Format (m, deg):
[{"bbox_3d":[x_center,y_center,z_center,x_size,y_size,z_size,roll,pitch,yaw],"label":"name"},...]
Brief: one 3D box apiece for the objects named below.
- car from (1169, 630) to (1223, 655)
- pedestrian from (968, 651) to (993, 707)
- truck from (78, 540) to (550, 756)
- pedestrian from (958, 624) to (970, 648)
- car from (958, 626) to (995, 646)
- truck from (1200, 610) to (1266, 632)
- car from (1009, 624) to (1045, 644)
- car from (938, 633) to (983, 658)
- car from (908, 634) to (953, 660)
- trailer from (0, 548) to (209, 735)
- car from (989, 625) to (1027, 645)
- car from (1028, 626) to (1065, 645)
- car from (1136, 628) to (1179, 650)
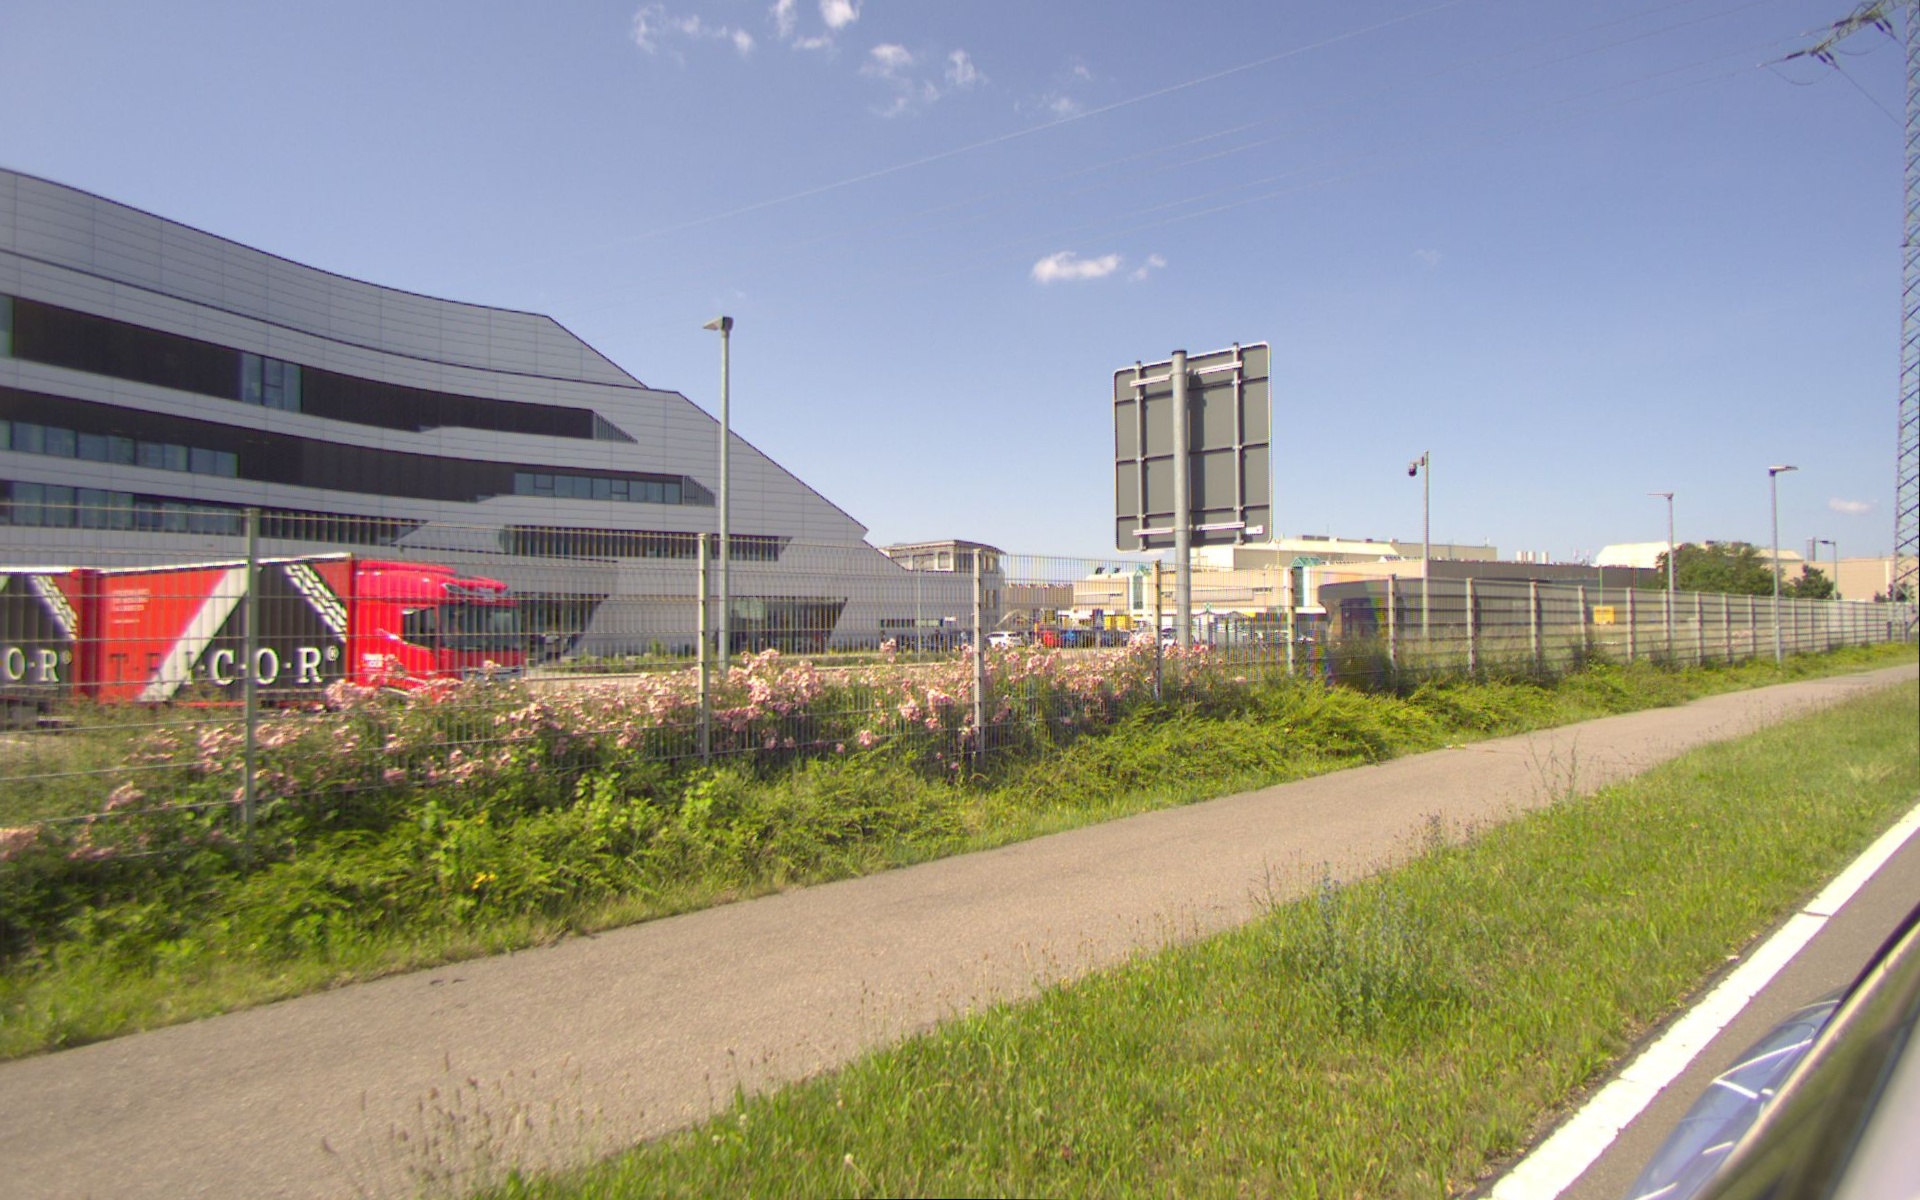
[{"bbox_3d":[14.878,2.658,63.847,1.427,1.554,3.152,0,-2,-34],"label":"car"},{"bbox_3d":[0.629,2.393,30.809,0.563,1.674,0.484,0,-2,-36],"label":"pedestrian"},{"bbox_3d":[-14.944,0.941,23.332,10.826,4.310,3.012,0,0,18],"label":"truck"},{"bbox_3d":[0.277,2.725,77.211,0.674,1.767,0.612,0,0,-35],"label":"pedestrian"},{"bbox_3d":[1.277,2.811,79.996,1.443,1.554,3.057,0,-1,-34],"label":"car"},{"bbox_3d":[41.443,3.173,153.418,11.612,3.178,2.001,0,-2,-29],"label":"truck"},{"bbox_3d":[5.481,2.790,83.139,1.443,1.554,3.057,0,-1,-34],"label":"car"},{"bbox_3d":[-0.007,2.928,65.759,1.443,1.554,3.057,0,-1,-34],"label":"car"},{"bbox_3d":[-1.918,2.947,64.242,1.443,1.554,3.057,0,-1,-34],"label":"car"},{"bbox_3d":[-24.134,0.951,26.376,8.600,4.350,3.011,0,0,19],"label":"trailer"},{"bbox_3d":[3.828,2.793,81.229,1.443,1.554,3.057,0,-1,-34],"label":"car"},{"bbox_3d":[7.228,2.930,84.895,1.443,1.554,3.057,0,-1,-34],"label":"car"},{"bbox_3d":[14.980,2.945,76.924,1.443,1.554,3.057,0,-1,-34],"label":"car"}]
